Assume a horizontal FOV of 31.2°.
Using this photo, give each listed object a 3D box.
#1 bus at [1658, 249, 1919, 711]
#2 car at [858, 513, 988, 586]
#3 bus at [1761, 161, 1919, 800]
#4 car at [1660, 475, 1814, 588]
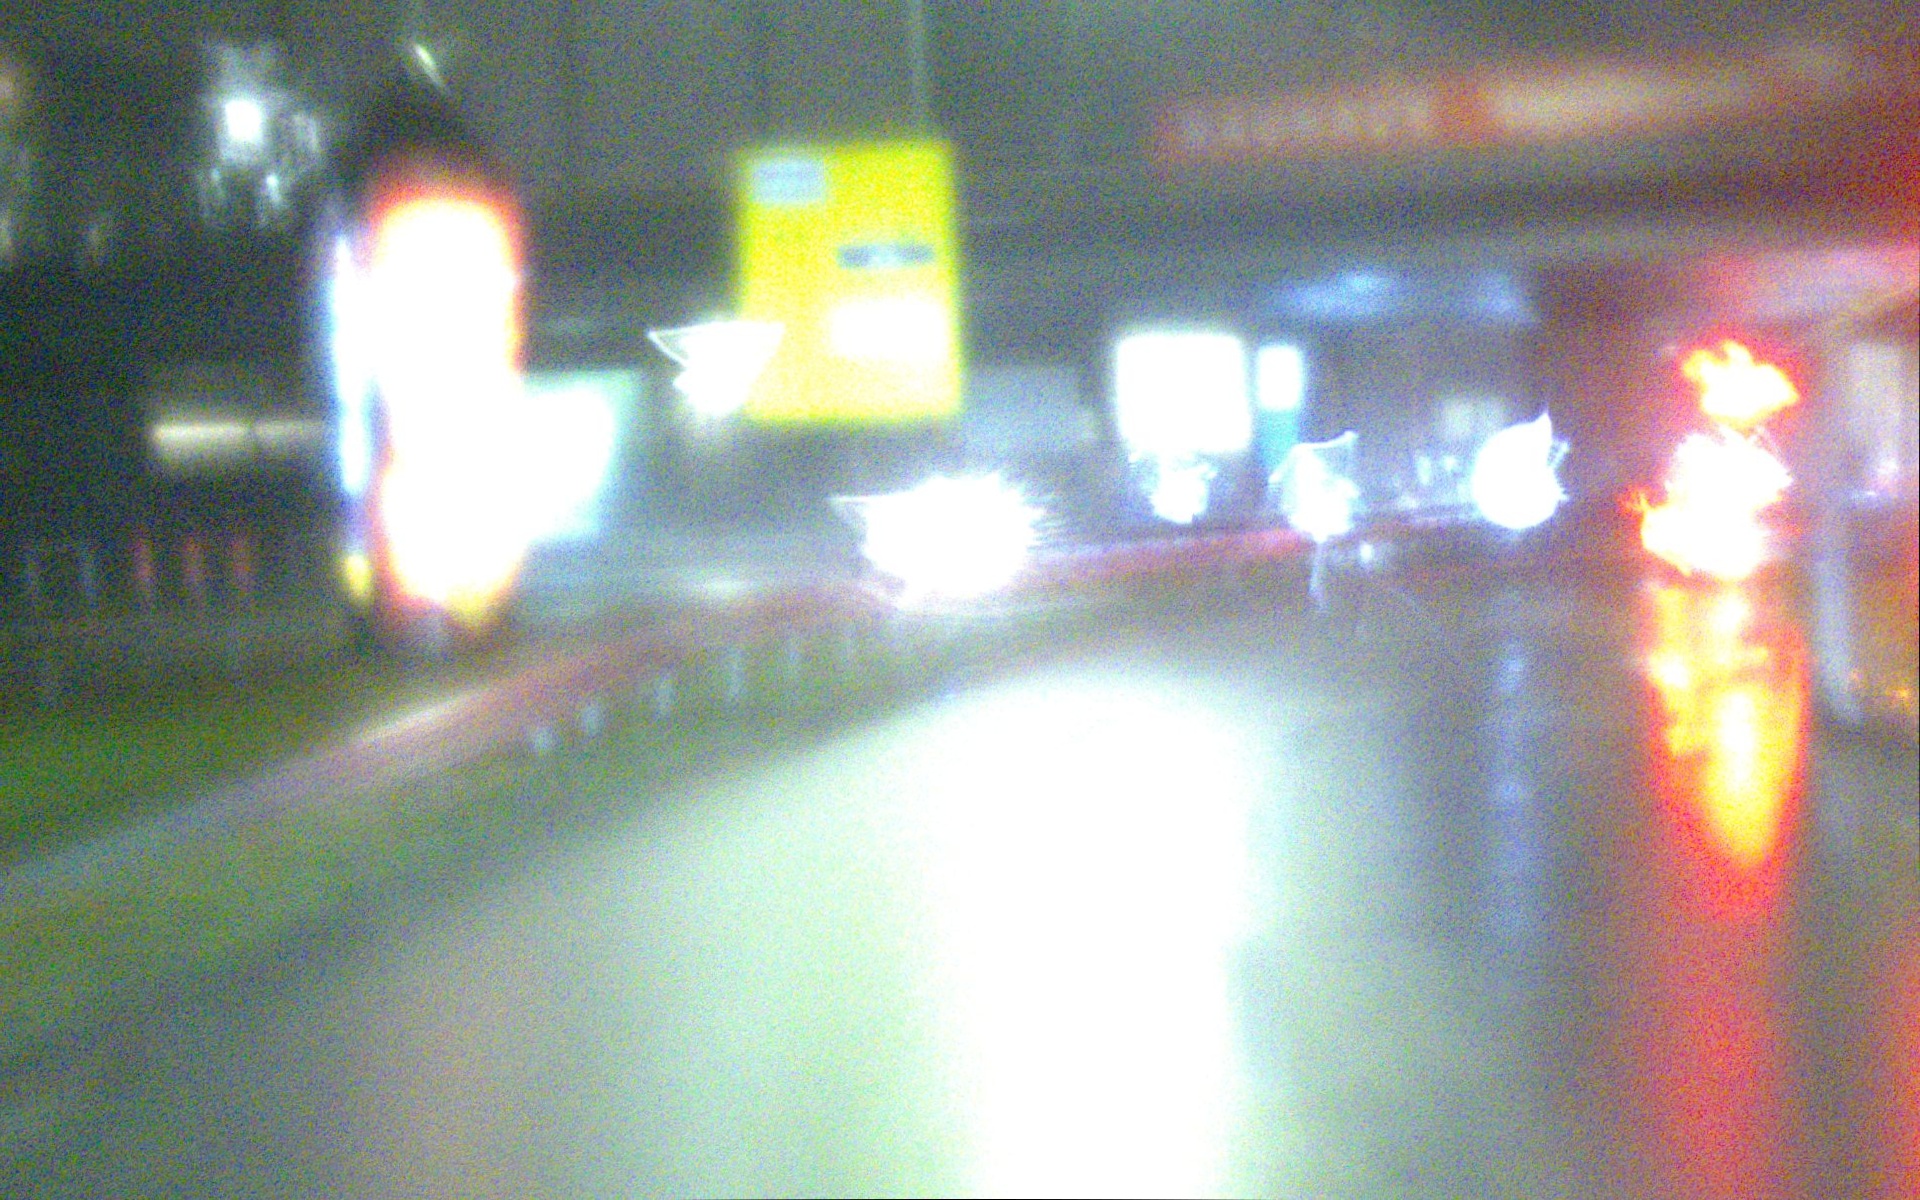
[{"bbox_3d":[7.711,-0.967,28.348,3.044,3.201,9.049,1,2,7],"label":"bus"},{"bbox_3d":[-0.721,-1.046,69.673,1.568,1.422,3.949,0,1,16],"label":"car"},{"bbox_3d":[6.599,-0.664,19.337,3.044,3.201,9.049,1,2,7],"label":"bus"},{"bbox_3d":[12.135,-1.086,53.527,1.789,1.678,3.996,0,2,21],"label":"car"}]
